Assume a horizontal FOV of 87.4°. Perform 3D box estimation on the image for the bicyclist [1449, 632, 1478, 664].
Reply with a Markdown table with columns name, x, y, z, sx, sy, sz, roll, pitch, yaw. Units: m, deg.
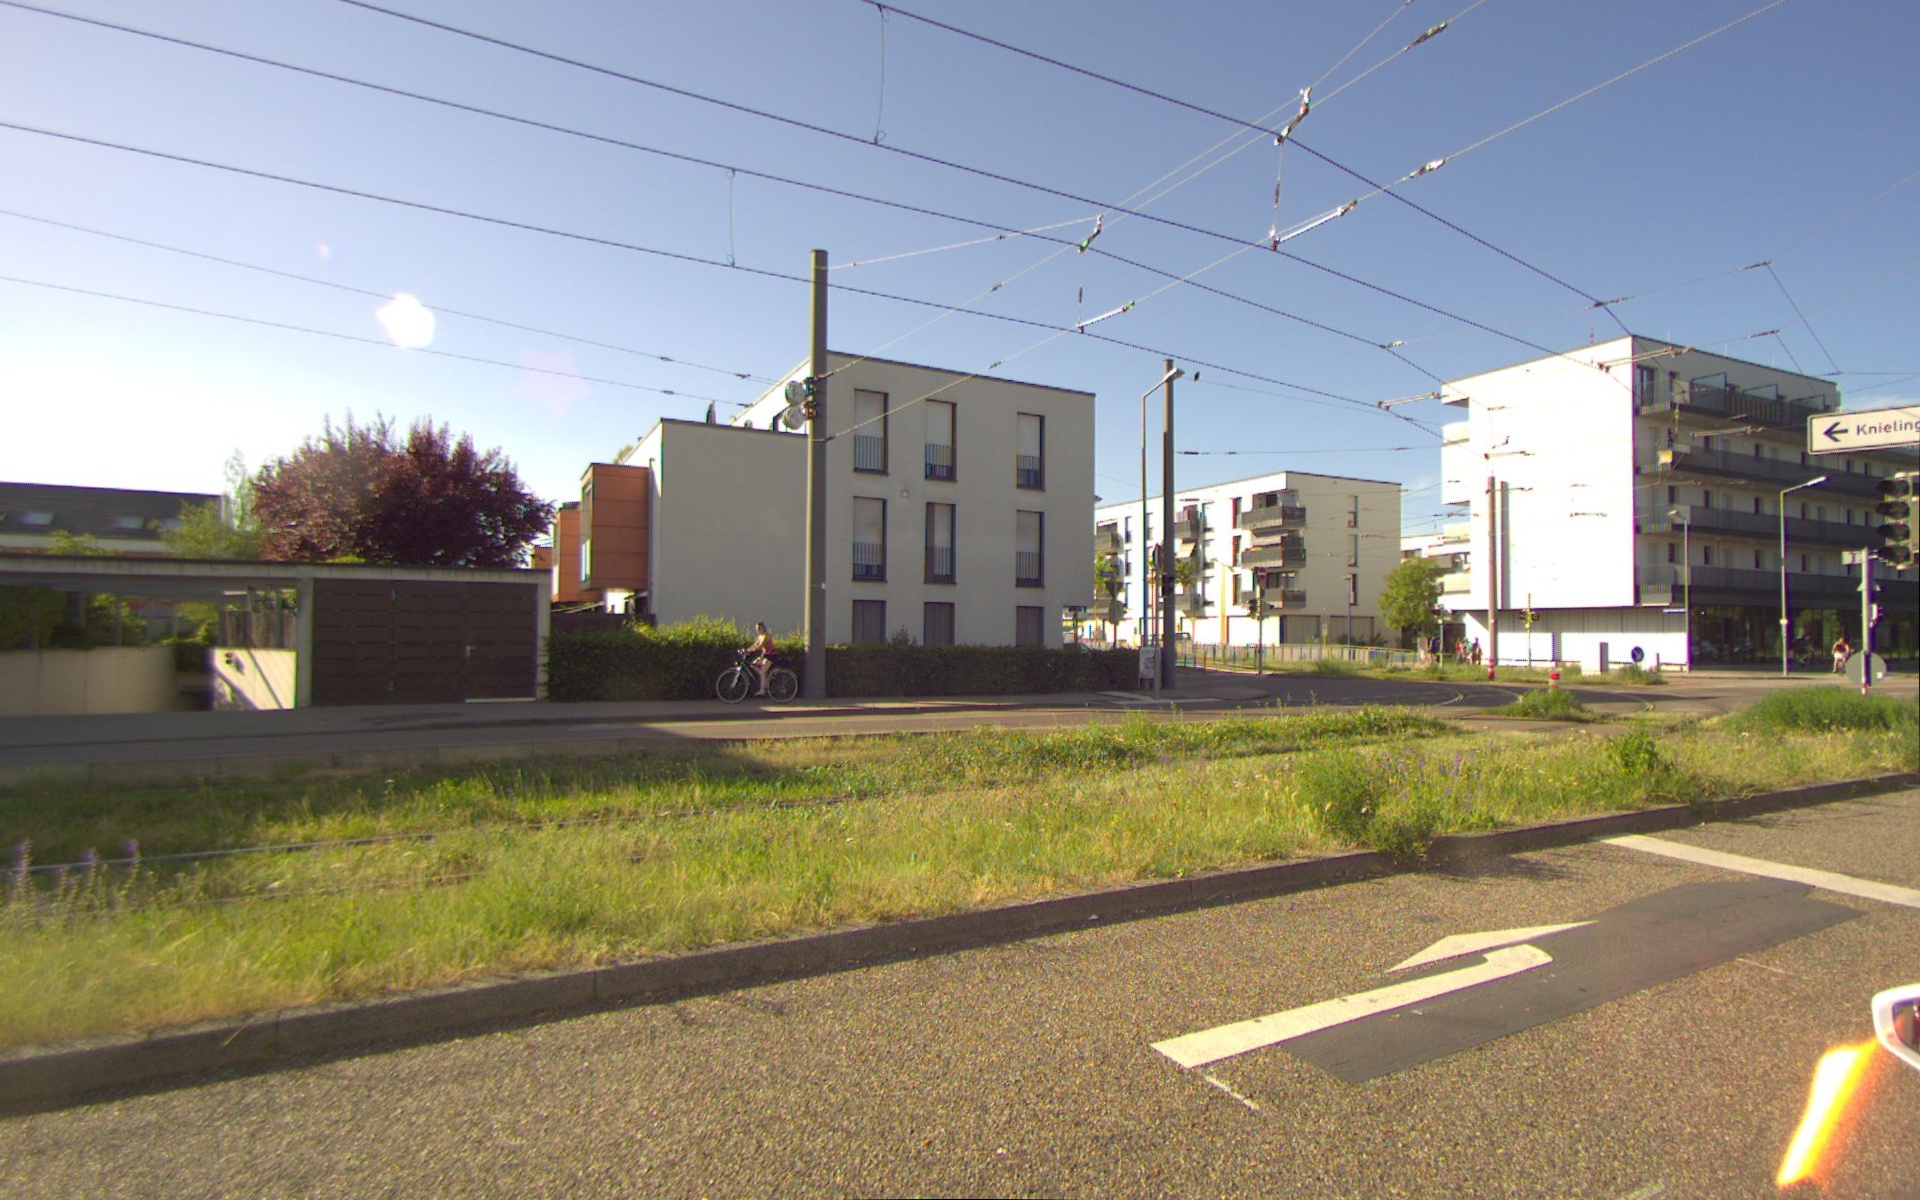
| name | x | y | z | sx | sy | sz | roll | pitch | yaw |
| --- | --- | --- | --- | --- | --- | --- | --- | --- | --- |
| bicyclist | 25.396 | 2.410 | 50.662 | 0.899 | 1.613 | 0.891 | 1 | -2 | -20 |

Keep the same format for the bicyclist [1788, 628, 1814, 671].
| name | x | y | z | sx | sy | sz | roll | pitch | yaw |
| --- | --- | --- | --- | --- | --- | --- | --- | --- | --- |
| bicyclist | 40.460 | 2.357 | 48.338 | 0.781 | 2.040 | 0.810 | -1 | -2 | 31 |

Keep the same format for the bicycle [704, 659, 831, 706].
| name | x | y | z | sx | sy | sz | roll | pitch | yaw |
| --- | --- | --- | --- | --- | --- | --- | --- | --- | --- |
| bicycle | -4.006 | 1.703 | 20.993 | 2.459 | 0.904 | 0.894 | 2 | -3 | -35 |

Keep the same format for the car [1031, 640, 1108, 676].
| name | x | y | z | sx | sy | sz | roll | pitch | yaw |
| --- | --- | --- | --- | --- | --- | --- | --- | --- | --- |
| car | 5.451 | 2.871 | 50.522 | 1.984 | 1.687 | 3.971 | 1 | -2 | -28 |

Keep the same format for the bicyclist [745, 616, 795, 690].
| name | x | y | z | sx | sy | sz | roll | pitch | yaw |
| --- | --- | --- | --- | --- | --- | --- | --- | --- | --- |
| bicyclist | -3.980 | 1.098 | 21.031 | 0.739 | 1.510 | 0.883 | 2 | -2 | -35 |

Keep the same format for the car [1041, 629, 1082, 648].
| name | x | y | z | sx | sy | sz | roll | pitch | yaw |
| --- | --- | --- | --- | --- | --- | --- | --- | --- | --- |
| car | 9.254 | 3.509 | 91.985 | 1.974 | 1.574 | 3.974 | 2 | 0 | -26 |

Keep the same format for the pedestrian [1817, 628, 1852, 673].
| name | x | y | z | sx | sy | sz | roll | pitch | yaw |
| --- | --- | --- | --- | --- | --- | --- | --- | --- | --- |
| pedestrian | 39.986 | 2.295 | 45.935 | 0.752 | 2.040 | 0.972 | 1 | -2 | -31 |

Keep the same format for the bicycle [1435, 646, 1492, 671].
| name | x | y | z | sx | sy | sz | roll | pitch | yaw |
| --- | --- | --- | --- | --- | --- | --- | --- | --- | --- |
| bicycle | 25.378 | 2.953 | 50.638 | 2.782 | 1.214 | 0.900 | 1 | -2 | -20 |

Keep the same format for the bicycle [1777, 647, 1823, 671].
| name | x | y | z | sx | sy | sz | roll | pitch | yaw |
| --- | --- | --- | --- | --- | --- | --- | --- | --- | --- |
| bicycle | 40.419 | 2.833 | 48.355 | 1.614 | 1.159 | 0.743 | -1 | -2 | 32 |
